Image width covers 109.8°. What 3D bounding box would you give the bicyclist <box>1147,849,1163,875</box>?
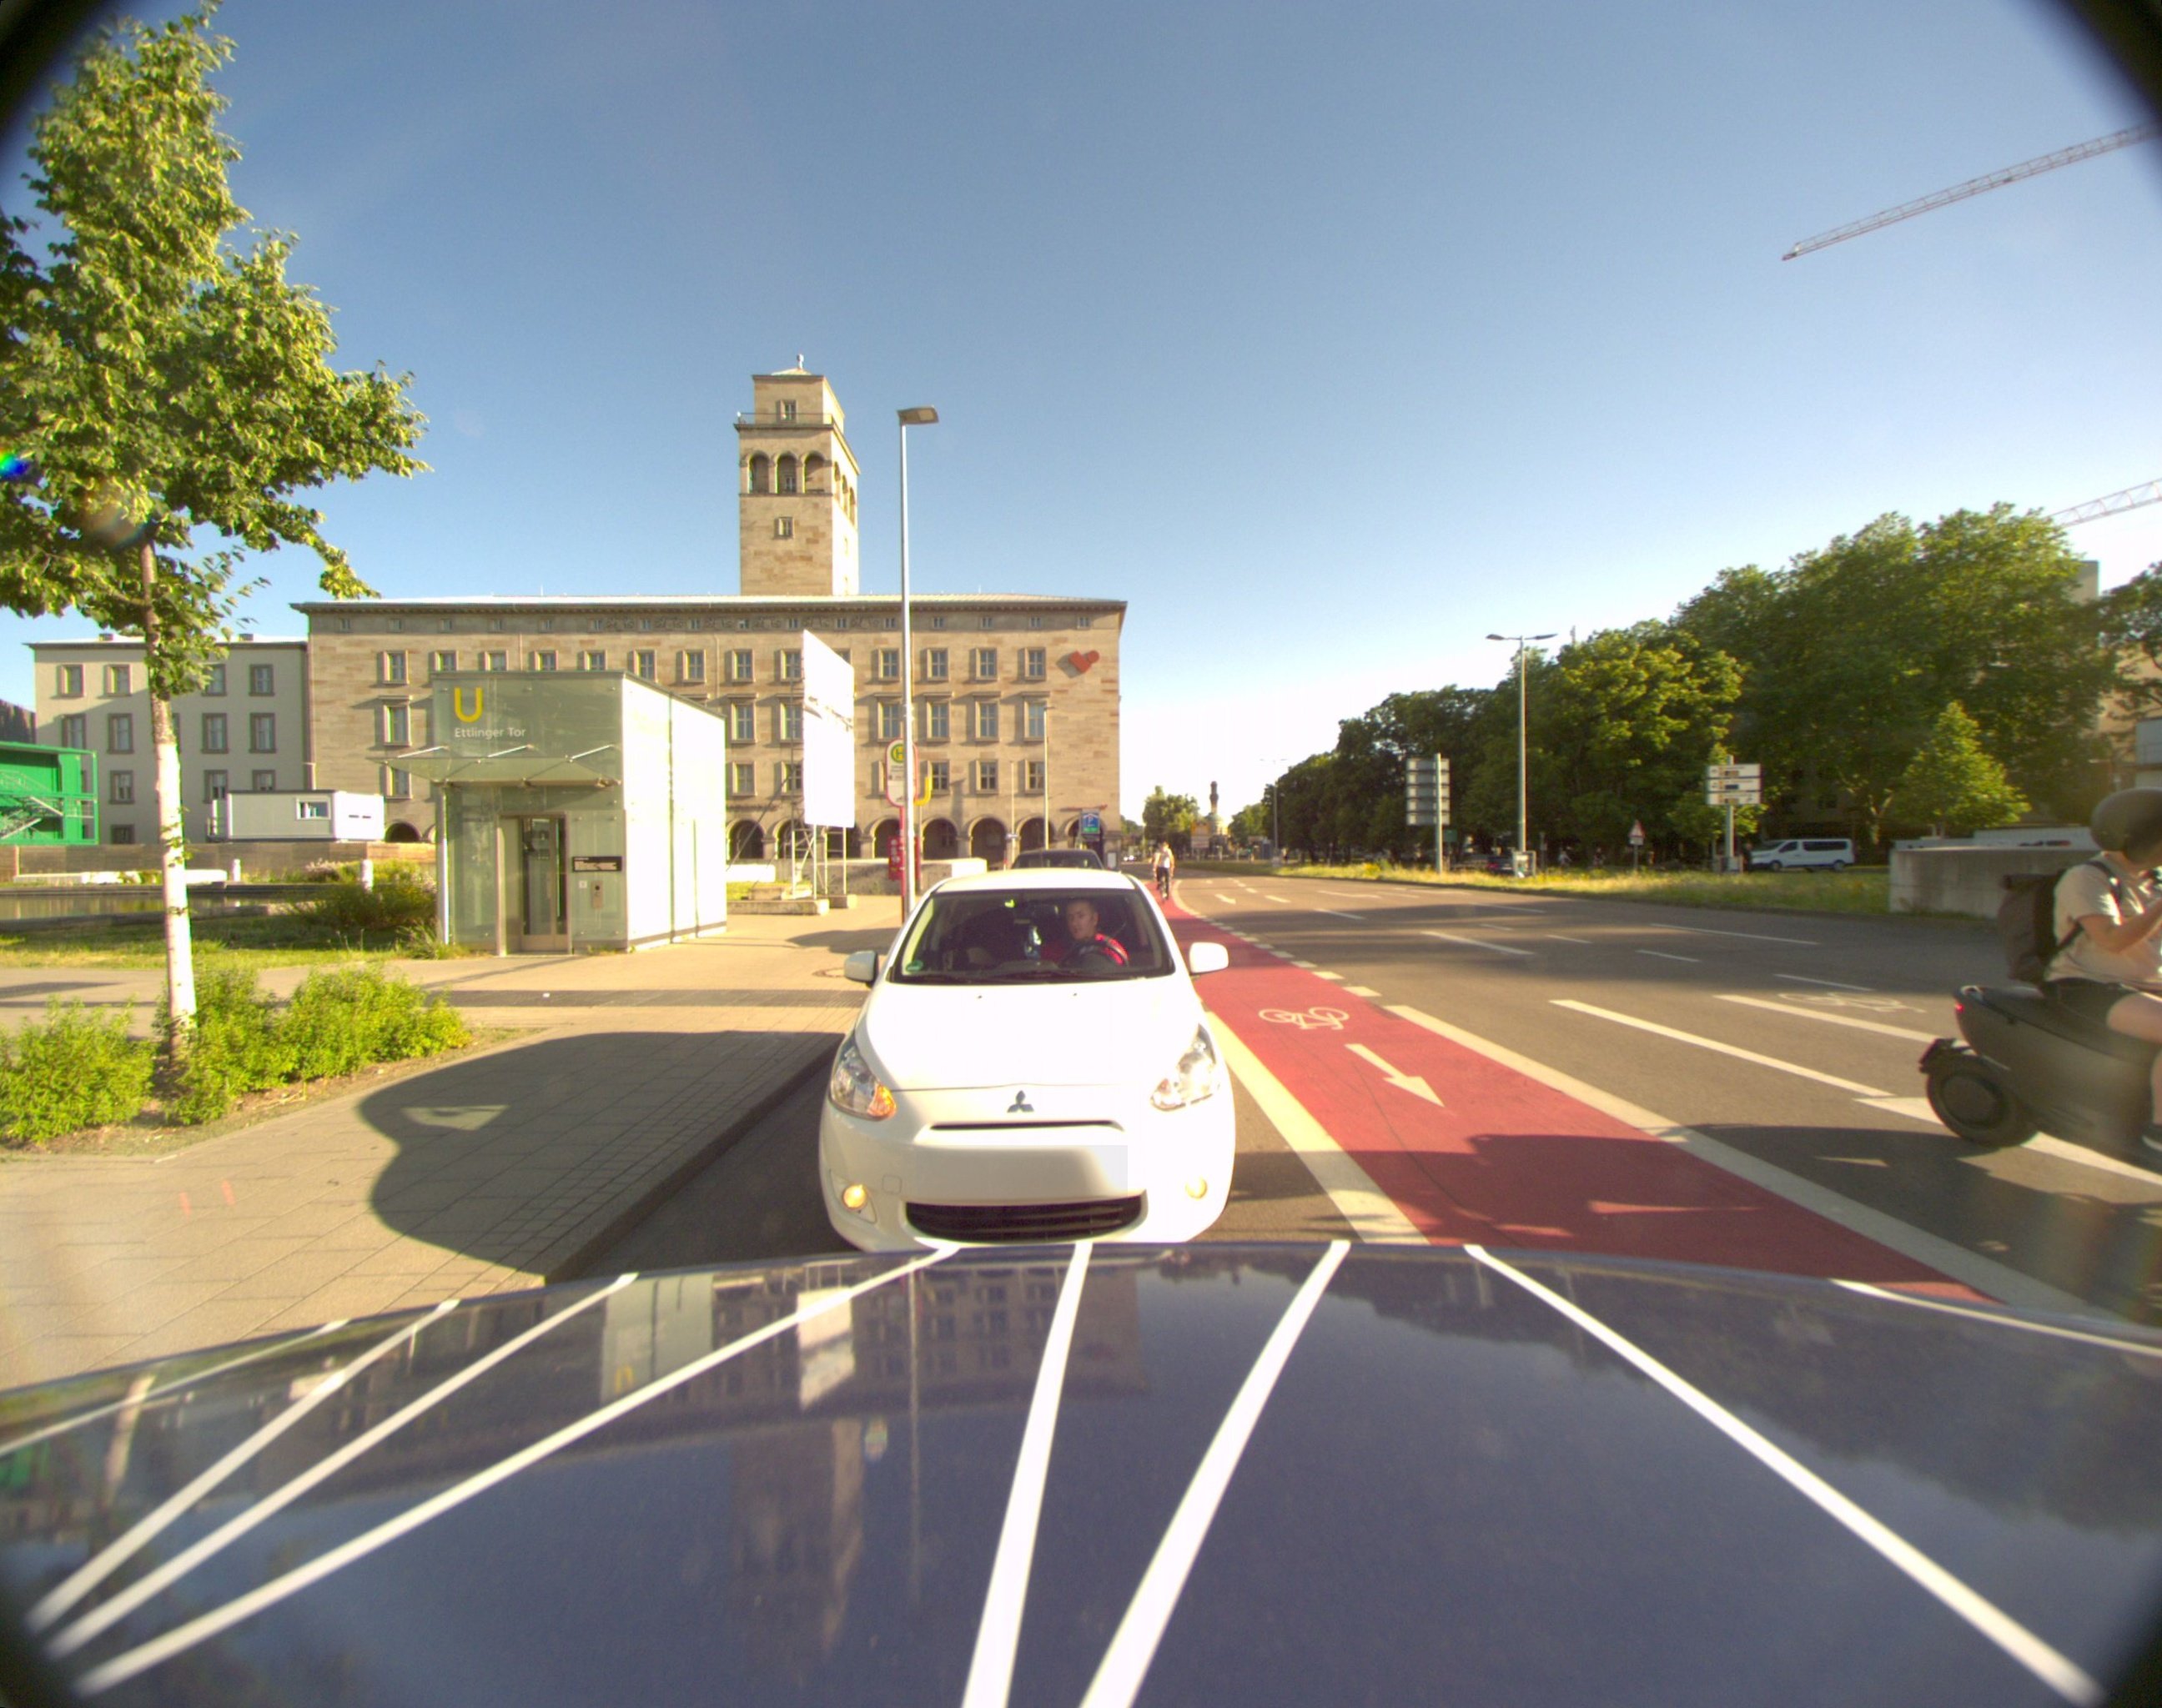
[{"bbox_3d":[4.423,0.481,45.414,0.824,1.568,0.877,-1,1,1],"label":"bicyclist"}]

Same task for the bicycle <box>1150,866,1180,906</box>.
[{"bbox_3d":[2.538,0.953,23.151,0.741,1.140,1.890,-1,0,1],"label":"bicycle"}]

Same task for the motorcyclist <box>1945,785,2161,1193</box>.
[{"bbox_3d":[4.271,0.477,2.953,0.824,1.455,0.877,-1,1,1],"label":"motorcyclist"}]

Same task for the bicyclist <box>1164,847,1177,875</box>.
[{"bbox_3d":[5.298,0.416,44.975,0.674,1.649,0.877,-1,1,1],"label":"bicyclist"}]

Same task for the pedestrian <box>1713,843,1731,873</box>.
[{"bbox_3d":[32.495,0.217,38.543,0.499,1.502,0.494,-1,1,1],"label":"pedestrian"}]

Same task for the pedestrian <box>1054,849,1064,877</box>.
[{"bbox_3d":[-1.310,0.549,45.893,0.552,1.692,0.553,-1,1,-1],"label":"pedestrian"}]

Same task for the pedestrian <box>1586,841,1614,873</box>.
[{"bbox_3d":[32.755,0.164,47.963,1.126,1.952,0.815,-2,1,1],"label":"pedestrian"}]

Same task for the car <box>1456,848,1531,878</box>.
[{"bbox_3d":[21.754,0.457,40.242,1.881,1.472,3.980,-1,0,1],"label":"car"}]

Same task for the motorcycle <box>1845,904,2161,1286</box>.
[{"bbox_3d":[4.272,0.901,2.871,0.828,1.273,1.944,-1,0,1],"label":"motorcycle"}]

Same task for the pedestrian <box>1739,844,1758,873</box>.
[{"bbox_3d":[34.097,0.229,38.807,0.499,1.502,0.494,-1,1,1],"label":"pedestrian"}]

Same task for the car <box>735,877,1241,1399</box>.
[{"bbox_3d":[-0.255,0.929,4.310,1.519,1.447,4.000,-1,0,1],"label":"car"}]

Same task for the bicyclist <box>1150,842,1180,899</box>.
[{"bbox_3d":[2.546,0.492,23.163,0.807,1.690,0.852,-1,1,1],"label":"bicyclist"}]

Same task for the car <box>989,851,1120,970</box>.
[{"bbox_3d":[-0.344,0.798,12.772,1.833,1.660,4.000,-1,0,1],"label":"car"}]

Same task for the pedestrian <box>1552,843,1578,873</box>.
[{"bbox_3d":[32.775,0.280,51.478,0.951,1.952,1.058,-2,1,-14],"label":"pedestrian"}]

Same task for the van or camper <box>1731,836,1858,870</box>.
[{"bbox_3d":[42.237,-0.047,45.065,5.499,1.934,1.951,-1,0,4],"label":"van or camper"}]

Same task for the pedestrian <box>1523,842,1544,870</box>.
[{"bbox_3d":[32.892,0.117,55.260,0.841,2.002,0.955,-3,1,-25],"label":"pedestrian"}]

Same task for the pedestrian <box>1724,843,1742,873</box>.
[{"bbox_3d":[33.171,0.205,38.666,0.499,1.502,0.494,-1,1,1],"label":"pedestrian"}]

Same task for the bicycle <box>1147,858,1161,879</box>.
[{"bbox_3d":[4.348,0.869,45.323,0.689,1.185,1.506,-1,1,1],"label":"bicycle"}]

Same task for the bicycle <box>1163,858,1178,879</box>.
[{"bbox_3d":[5.292,0.844,45.050,0.689,1.185,1.506,-1,1,1],"label":"bicycle"}]

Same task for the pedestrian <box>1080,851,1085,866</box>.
[{"bbox_3d":[0.164,0.618,105.732,0.612,2.002,0.727,-2,1,0],"label":"pedestrian"}]
